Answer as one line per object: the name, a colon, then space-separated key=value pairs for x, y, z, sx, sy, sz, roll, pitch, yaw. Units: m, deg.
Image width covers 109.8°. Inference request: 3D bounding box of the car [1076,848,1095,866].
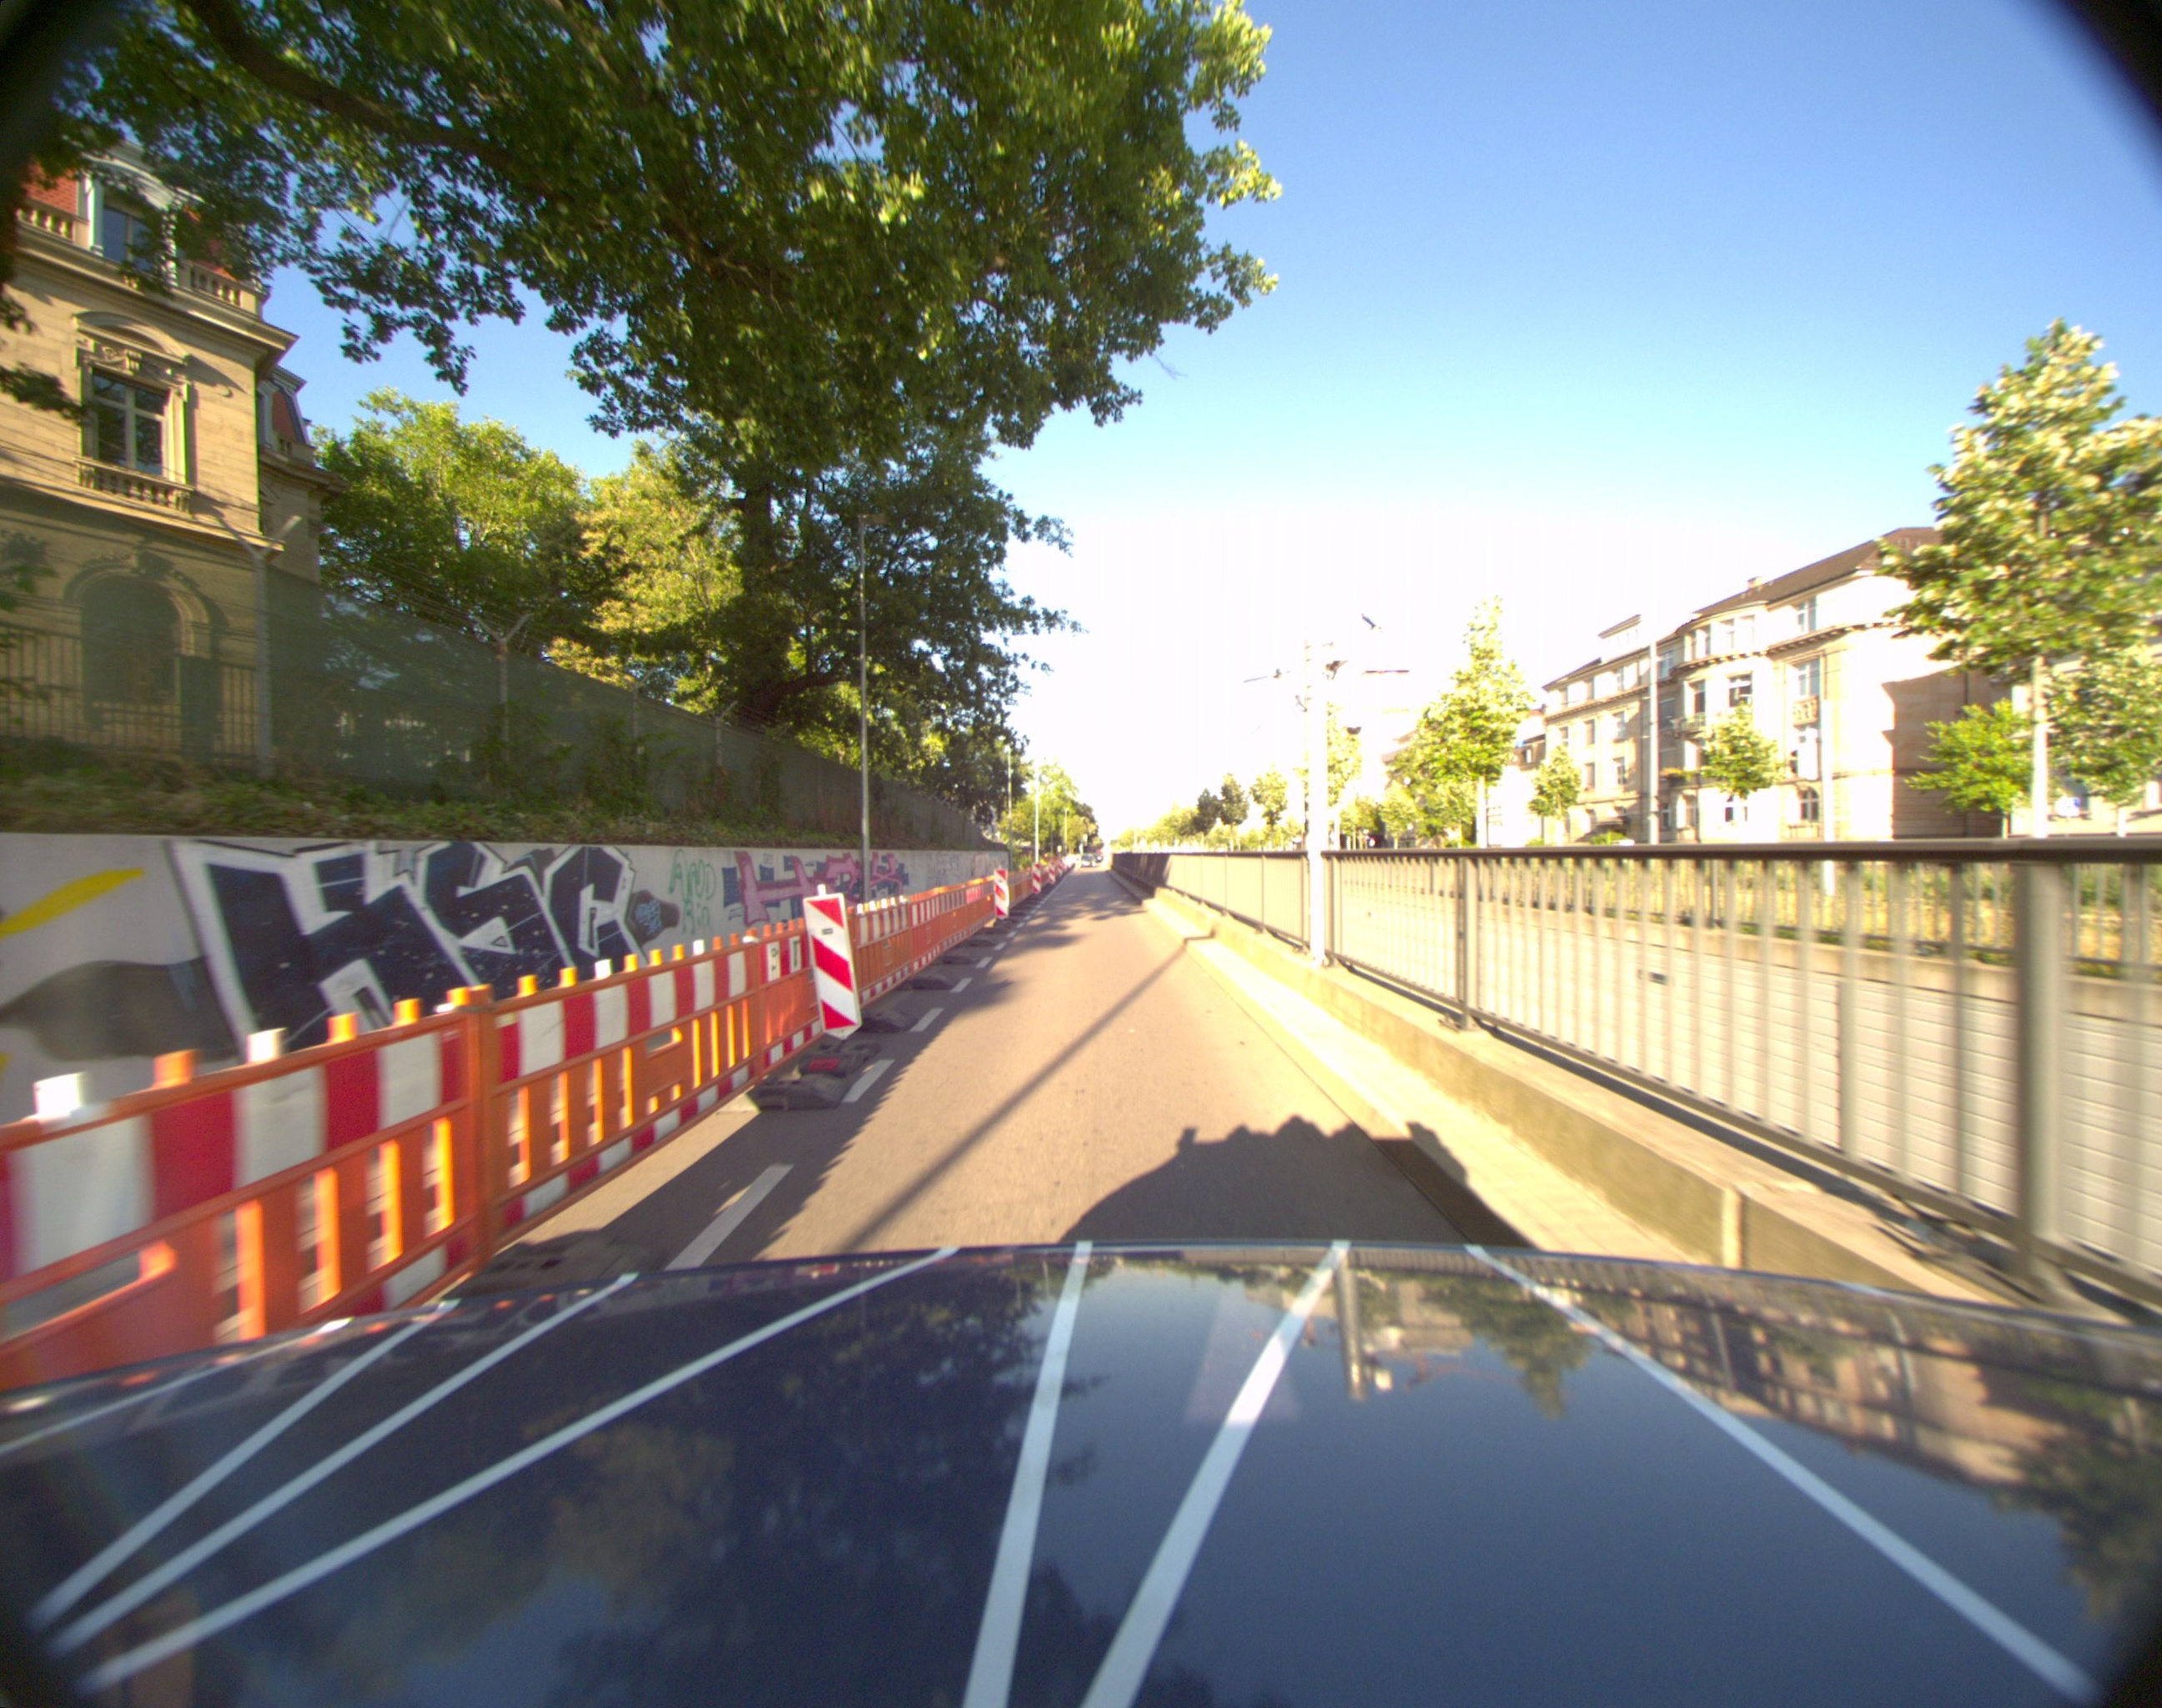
car: x=0.523 y=0.286 z=82.876 sx=2.080 sy=1.827 sz=4.000 roll=-1 pitch=1 yaw=1
